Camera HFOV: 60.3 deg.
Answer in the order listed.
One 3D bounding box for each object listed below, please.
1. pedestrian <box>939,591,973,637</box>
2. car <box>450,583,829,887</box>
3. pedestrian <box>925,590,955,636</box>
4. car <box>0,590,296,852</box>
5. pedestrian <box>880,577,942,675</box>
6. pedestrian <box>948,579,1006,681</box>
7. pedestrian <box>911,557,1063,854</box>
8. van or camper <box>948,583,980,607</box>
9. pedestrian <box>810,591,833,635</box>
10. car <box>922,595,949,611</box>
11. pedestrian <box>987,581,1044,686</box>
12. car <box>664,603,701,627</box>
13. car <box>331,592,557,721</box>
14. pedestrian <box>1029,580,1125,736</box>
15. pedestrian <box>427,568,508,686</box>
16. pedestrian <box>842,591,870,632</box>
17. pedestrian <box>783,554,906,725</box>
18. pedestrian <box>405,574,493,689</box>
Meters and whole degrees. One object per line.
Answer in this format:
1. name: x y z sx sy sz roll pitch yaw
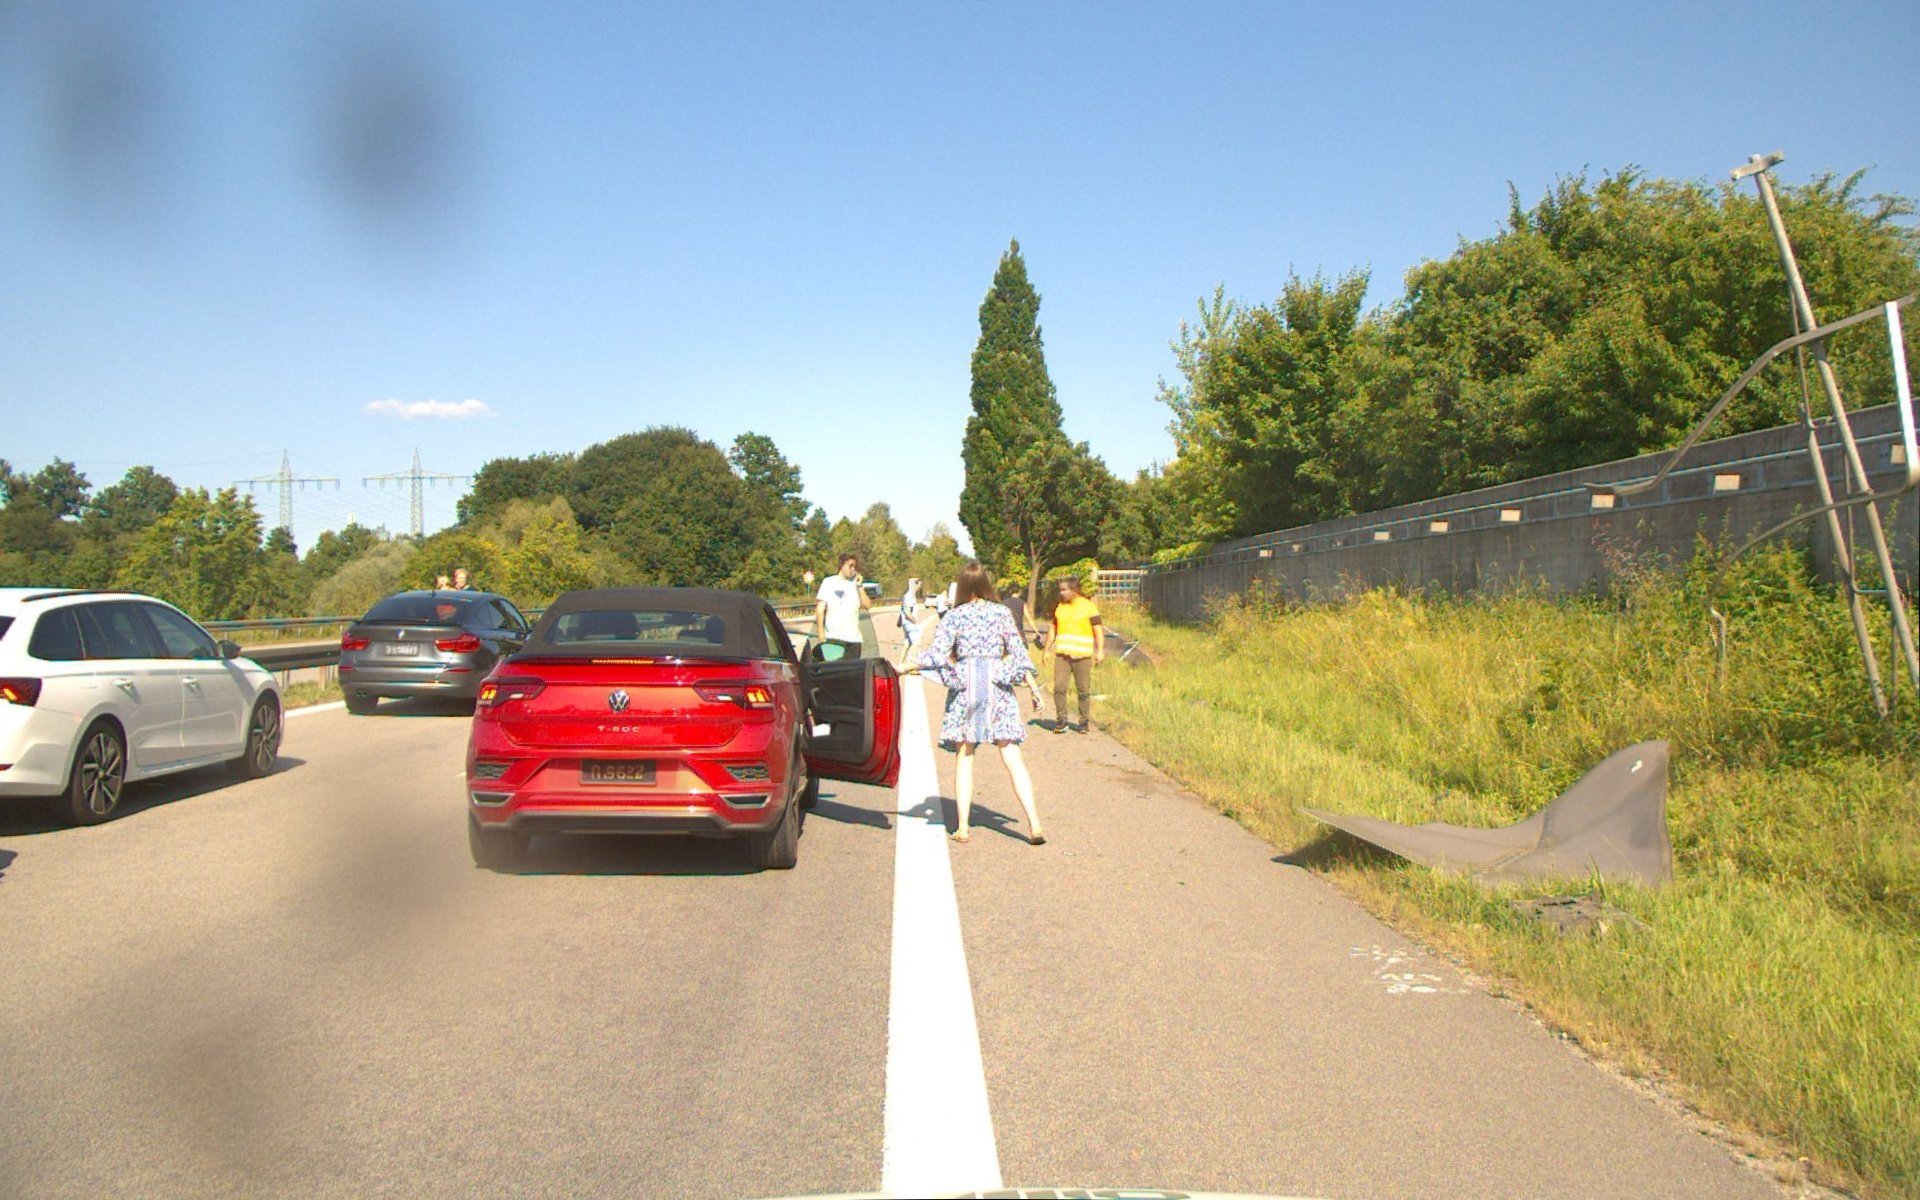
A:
1. pedestrian: -0.146 0.512 62.488 0.993 1.719 0.993 1 -1 -22
2. car: -1.771 0.672 10.418 1.697 1.513 4.208 1 0 -2
3. pedestrian: -0.745 0.477 62.979 1.091 1.719 0.973 1 -1 0
4. car: -6.213 0.674 11.449 1.660 1.467 4.208 1 0 -2
5. pedestrian: -0.923 0.481 31.558 1.065 1.820 1.108 1 -1 3
6. pedestrian: 0.312 0.525 29.678 0.808 1.790 0.814 1 -1 20
7. pedestrian: 0.146 0.615 10.261 0.872 1.725 1.128 -1 0 -1
8. van or camper: 0.401 -0.479 162.460 1.951 2.356 4.473 1 0 15
9. pedestrian: -5.480 0.523 65.451 0.775 1.719 0.792 1 -1 3
10. car: -2.494 0.299 169.181 1.695 1.513 4.213 1 0 14
11. pedestrian: 0.939 0.566 28.125 0.877 1.755 0.753 1 -1 -5
12. car: -18.013 0.957 107.562 1.660 1.451 4.305 1 0 0
13. car: -6.433 0.640 21.108 1.660 1.451 4.332 1 0 -2
14. pedestrian: 1.295 0.624 18.575 0.938 1.682 1.278 -1 0 -2
15. pedestrian: -8.144 0.434 27.392 1.044 1.916 1.093 -1 0 -3
16. pedestrian: -4.407 0.493 69.995 1.034 1.719 1.018 1 -1 4
17. pedestrian: -1.343 0.456 19.522 1.226 1.946 1.110 -1 0 7
18. pedestrian: -8.145 0.491 26.402 1.092 1.794 1.043 -1 0 -3
